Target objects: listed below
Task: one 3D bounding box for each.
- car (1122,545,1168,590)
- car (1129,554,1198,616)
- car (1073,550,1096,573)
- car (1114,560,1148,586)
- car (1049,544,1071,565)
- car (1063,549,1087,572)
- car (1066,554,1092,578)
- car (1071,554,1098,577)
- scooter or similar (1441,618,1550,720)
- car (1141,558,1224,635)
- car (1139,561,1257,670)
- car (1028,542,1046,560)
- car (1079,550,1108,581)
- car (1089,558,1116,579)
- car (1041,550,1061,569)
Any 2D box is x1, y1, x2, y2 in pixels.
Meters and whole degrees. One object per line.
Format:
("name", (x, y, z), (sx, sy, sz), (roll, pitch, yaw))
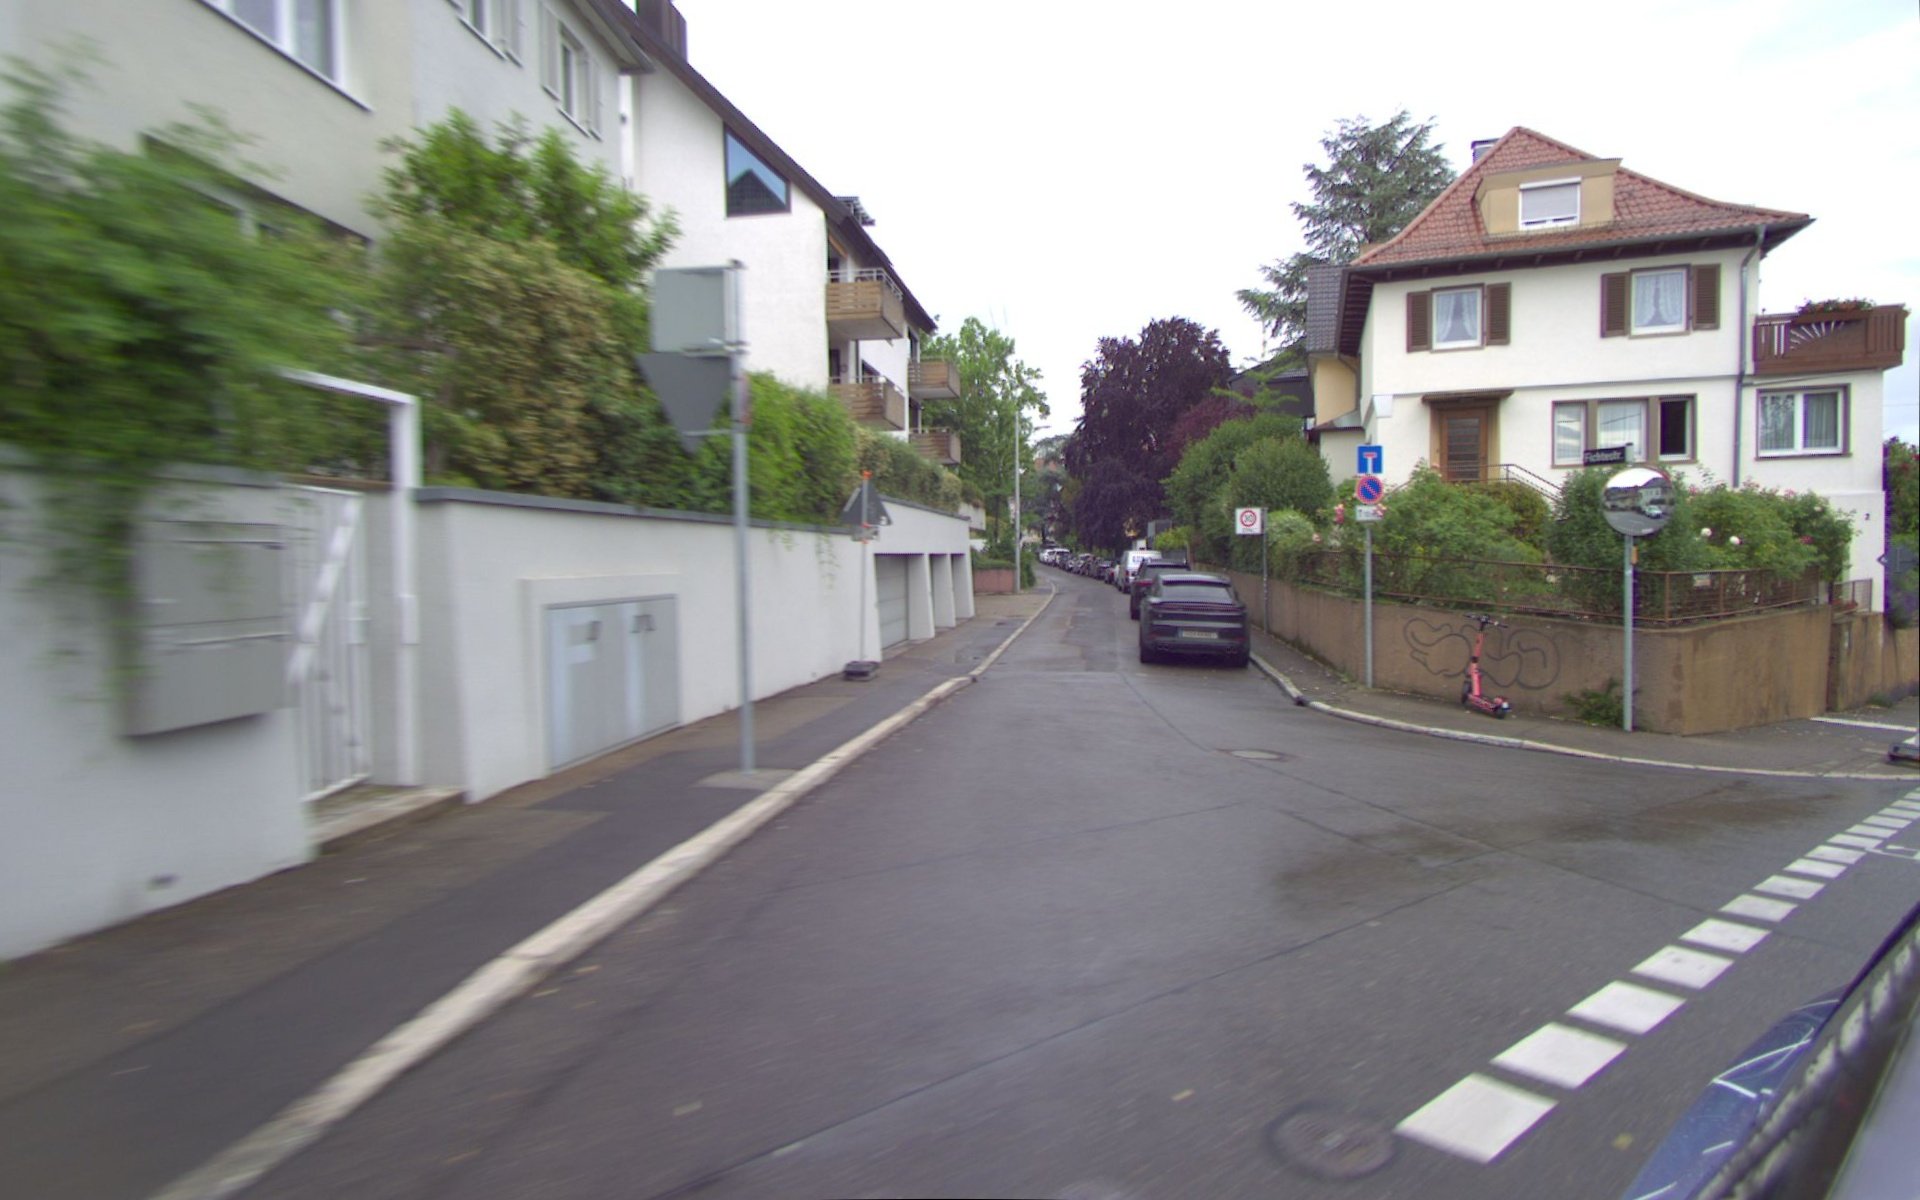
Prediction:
("car", (8.415, -1.513, 46.239), (1.845, 1.863, 4.363), (2, 4, 9))
("car", (6.090, -0.490, 30.460), (1.846, 1.687, 4.358), (-2, 2, 11))
("car", (10.122, -3.095, 82.350), (1.714, 1.705, 3.994), (3, 1, 6))
("car", (8.817, -1.426, 52.434), (1.553, 1.277, 3.778), (1, 3, 7))
("car", (9.813, -4.414, 99.294), (1.964, 1.750, 3.995), (-4, -1, 4))
("car", (10.469, -3.585, 92.314), (1.964, 1.750, 3.995), (-4, -1, 4))
("car", (10.318, -2.916, 87.804), (1.964, 1.750, 3.995), (-4, -1, 4))
("car", (8.830, -2.420, 71.890), (1.714, 1.300, 3.993), (-4, -1, 6))
("scooter or similar", (6.920, 0.860, 13.163), (0.642, 1.070, 1.558), (3, 4, 6))
("car", (5.456, -0.165, 25.194), (1.846, 1.662, 4.360), (0, 3, 11))
("car", (4.527, 0.174, 19.785), (1.968, 1.703, 4.361), (1, 4, 11))
("car", (8.765, -5.555, 115.089), (1.713, 1.696, 3.732), (-4, 1, 2))
("car", (10.170, -2.591, 76.761), (1.694, 2.039, 3.984), (-4, -1, 13))
("car", (9.255, -2.045, 65.790), (1.679, 1.276, 3.779), (0, 3, 7))
("car", (9.407, -4.144, 104.473), (1.713, 1.696, 3.732), (-4, 1, 2))
